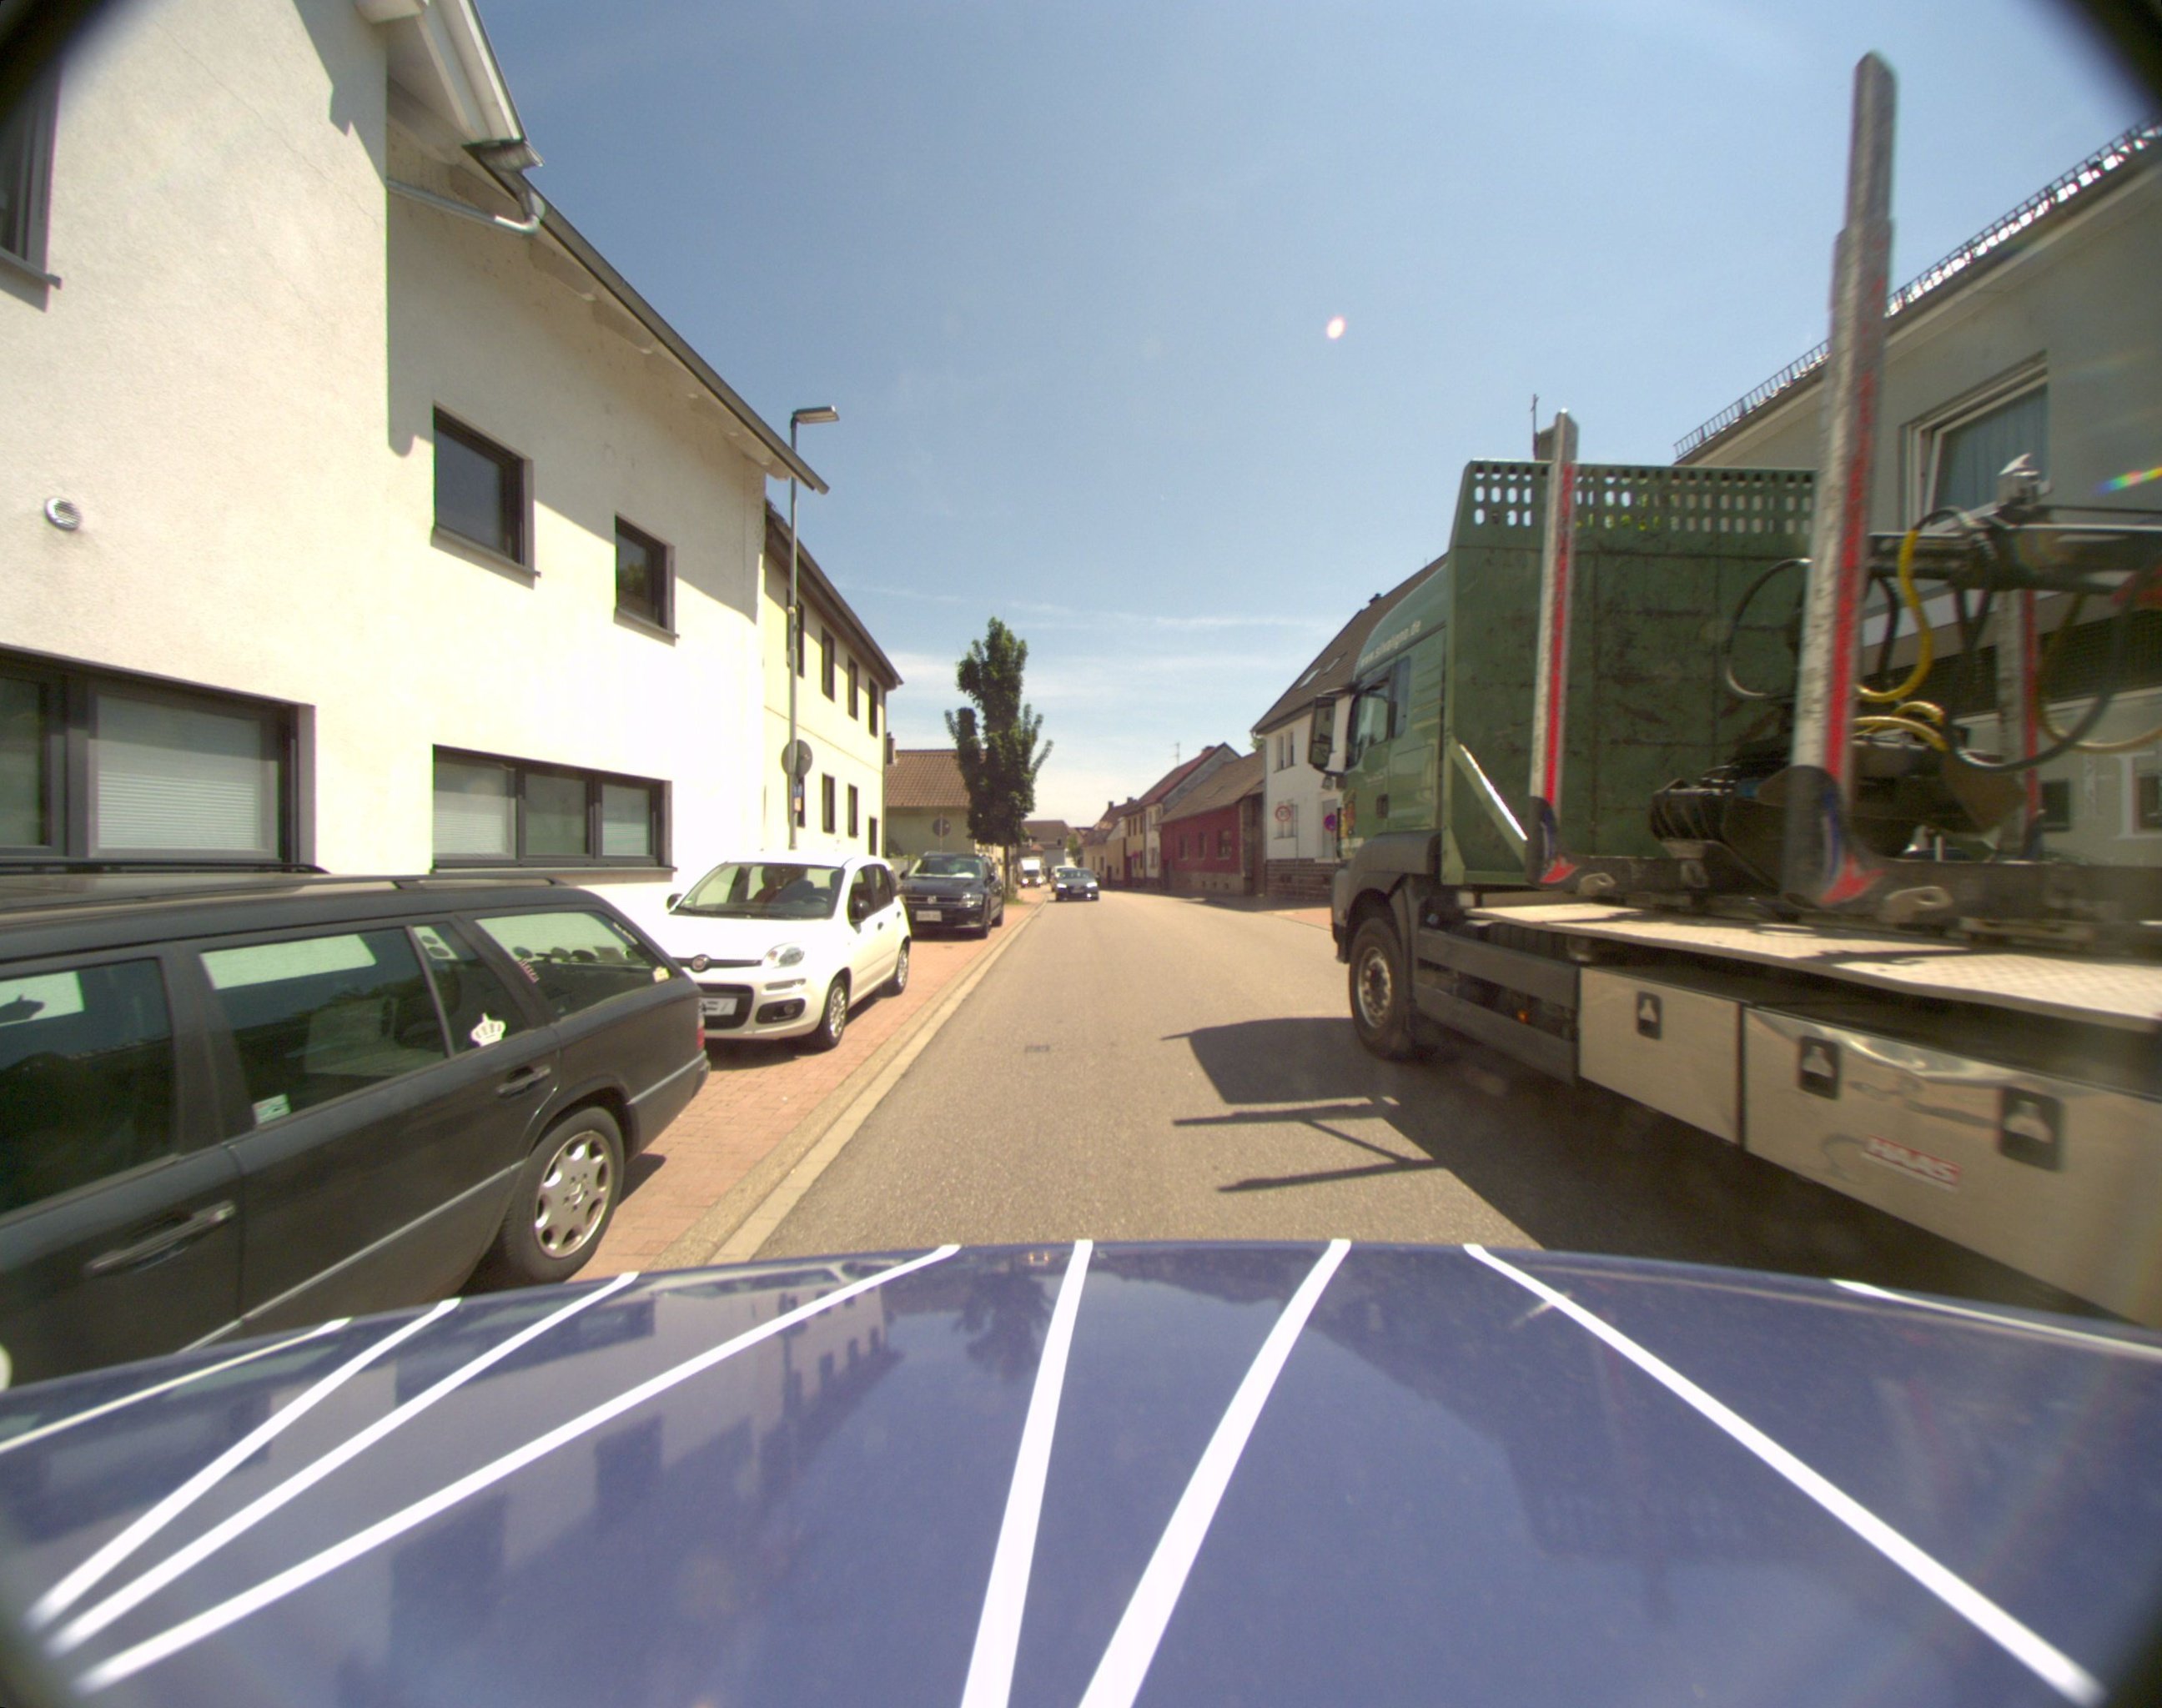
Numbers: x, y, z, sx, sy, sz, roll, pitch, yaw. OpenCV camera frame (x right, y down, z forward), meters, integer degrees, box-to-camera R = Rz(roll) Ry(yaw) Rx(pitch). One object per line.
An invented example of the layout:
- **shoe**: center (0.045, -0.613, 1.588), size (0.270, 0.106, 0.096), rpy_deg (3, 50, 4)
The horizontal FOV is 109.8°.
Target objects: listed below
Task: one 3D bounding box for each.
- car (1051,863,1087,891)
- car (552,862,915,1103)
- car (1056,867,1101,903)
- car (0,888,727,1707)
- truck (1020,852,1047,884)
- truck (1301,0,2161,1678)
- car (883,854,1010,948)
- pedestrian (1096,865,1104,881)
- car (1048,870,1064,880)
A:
- **car**: center (-0.971, 1.650, 56.596), size (2.080, 1.949, 5.515), rpy_deg (-1, 0, -7)
- **car**: center (-2.689, 0.872, 6.812), size (1.611, 1.513, 3.544), rpy_deg (2, 0, 0)
- **car**: center (-0.120, 1.258, 32.152), size (1.786, 1.364, 3.607), rpy_deg (-1, 0, 0)
- **car**: center (-2.649, 0.919, 1.368), size (1.704, 1.438, 4.836), rpy_deg (2, 0, 0)
- **truck**: center (-5.648, 1.577, 89.286), size (2.868, 3.491, 8.315), rpy_deg (0, 0, -6)
- **truck**: center (3.395, -0.379, 3.462), size (2.625, 3.962, 6.851), rpy_deg (1, 0, -1)
- **car**: center (-2.575, 0.849, 15.598), size (1.807, 1.604, 4.548), rpy_deg (1, -1, -1)
- **pedestrian**: center (1.935, 1.950, 77.485), size (0.664, 1.555, 0.754), rpy_deg (-2, 0, -7)
- **car**: center (-3.578, 3.046, 109.582), size (1.698, 1.401, 4.203), rpy_deg (0, -1, 5)
